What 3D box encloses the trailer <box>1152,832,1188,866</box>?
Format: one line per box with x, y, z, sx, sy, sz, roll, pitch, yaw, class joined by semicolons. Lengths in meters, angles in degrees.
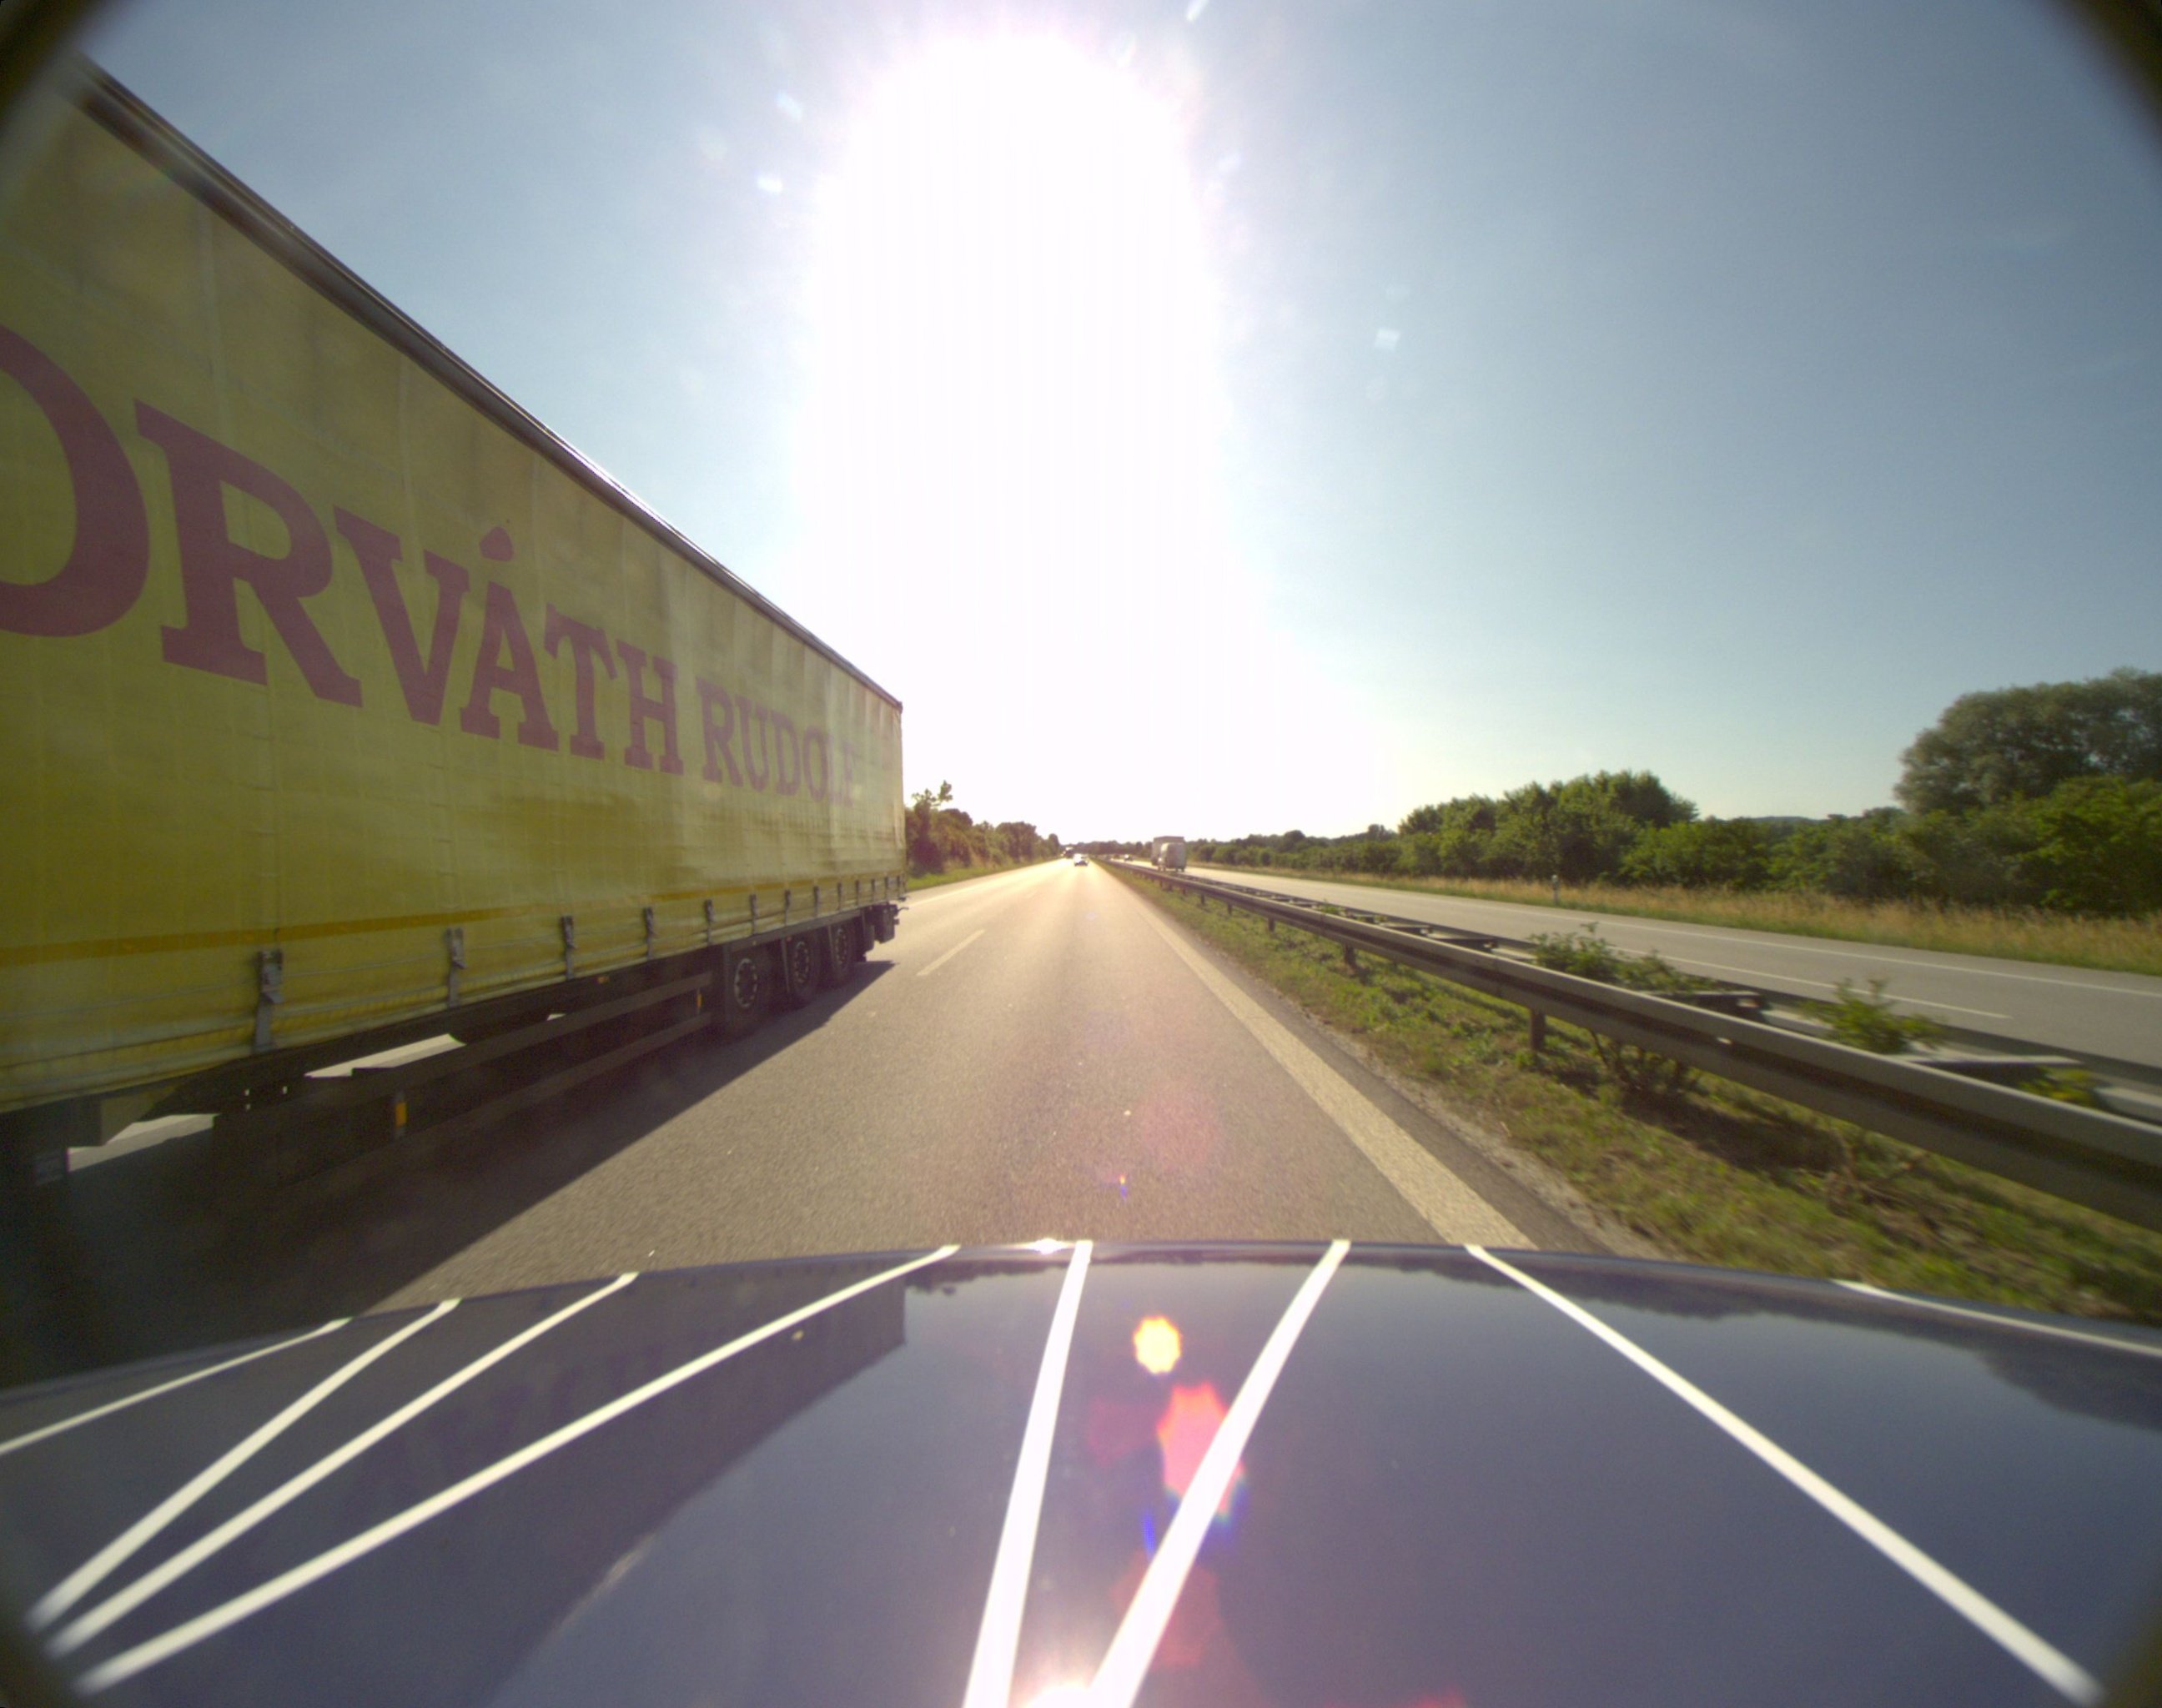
11.679;-0.678;101.231;3.192;4.036;14.596;2;1;1;trailer

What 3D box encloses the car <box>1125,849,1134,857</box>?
10.822;-0.256;171.100;1.730;1.573;4.767;2;1;1;car

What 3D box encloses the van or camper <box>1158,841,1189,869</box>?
8.735;0.048;72.419;1.998;2.482;7.227;1;1;0;van or camper

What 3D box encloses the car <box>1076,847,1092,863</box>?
0.394;0.097;100.880;1.998;2.002;4.358;-2;1;0;car

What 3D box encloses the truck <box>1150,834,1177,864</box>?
11.761;-0.694;108.242;3.176;4.090;6.388;1;1;1;truck

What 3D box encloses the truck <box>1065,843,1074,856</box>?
-3.897;-1.504;264.433;2.759;4.242;8.492;-2;1;-1;truck

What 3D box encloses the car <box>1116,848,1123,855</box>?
11.804;-0.779;232.046;1.954;1.761;4.748;3;1;2;car

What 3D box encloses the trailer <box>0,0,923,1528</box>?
-4.301;-0.343;5.824;3.193;4.036;13.184;-2;1;0;trailer
